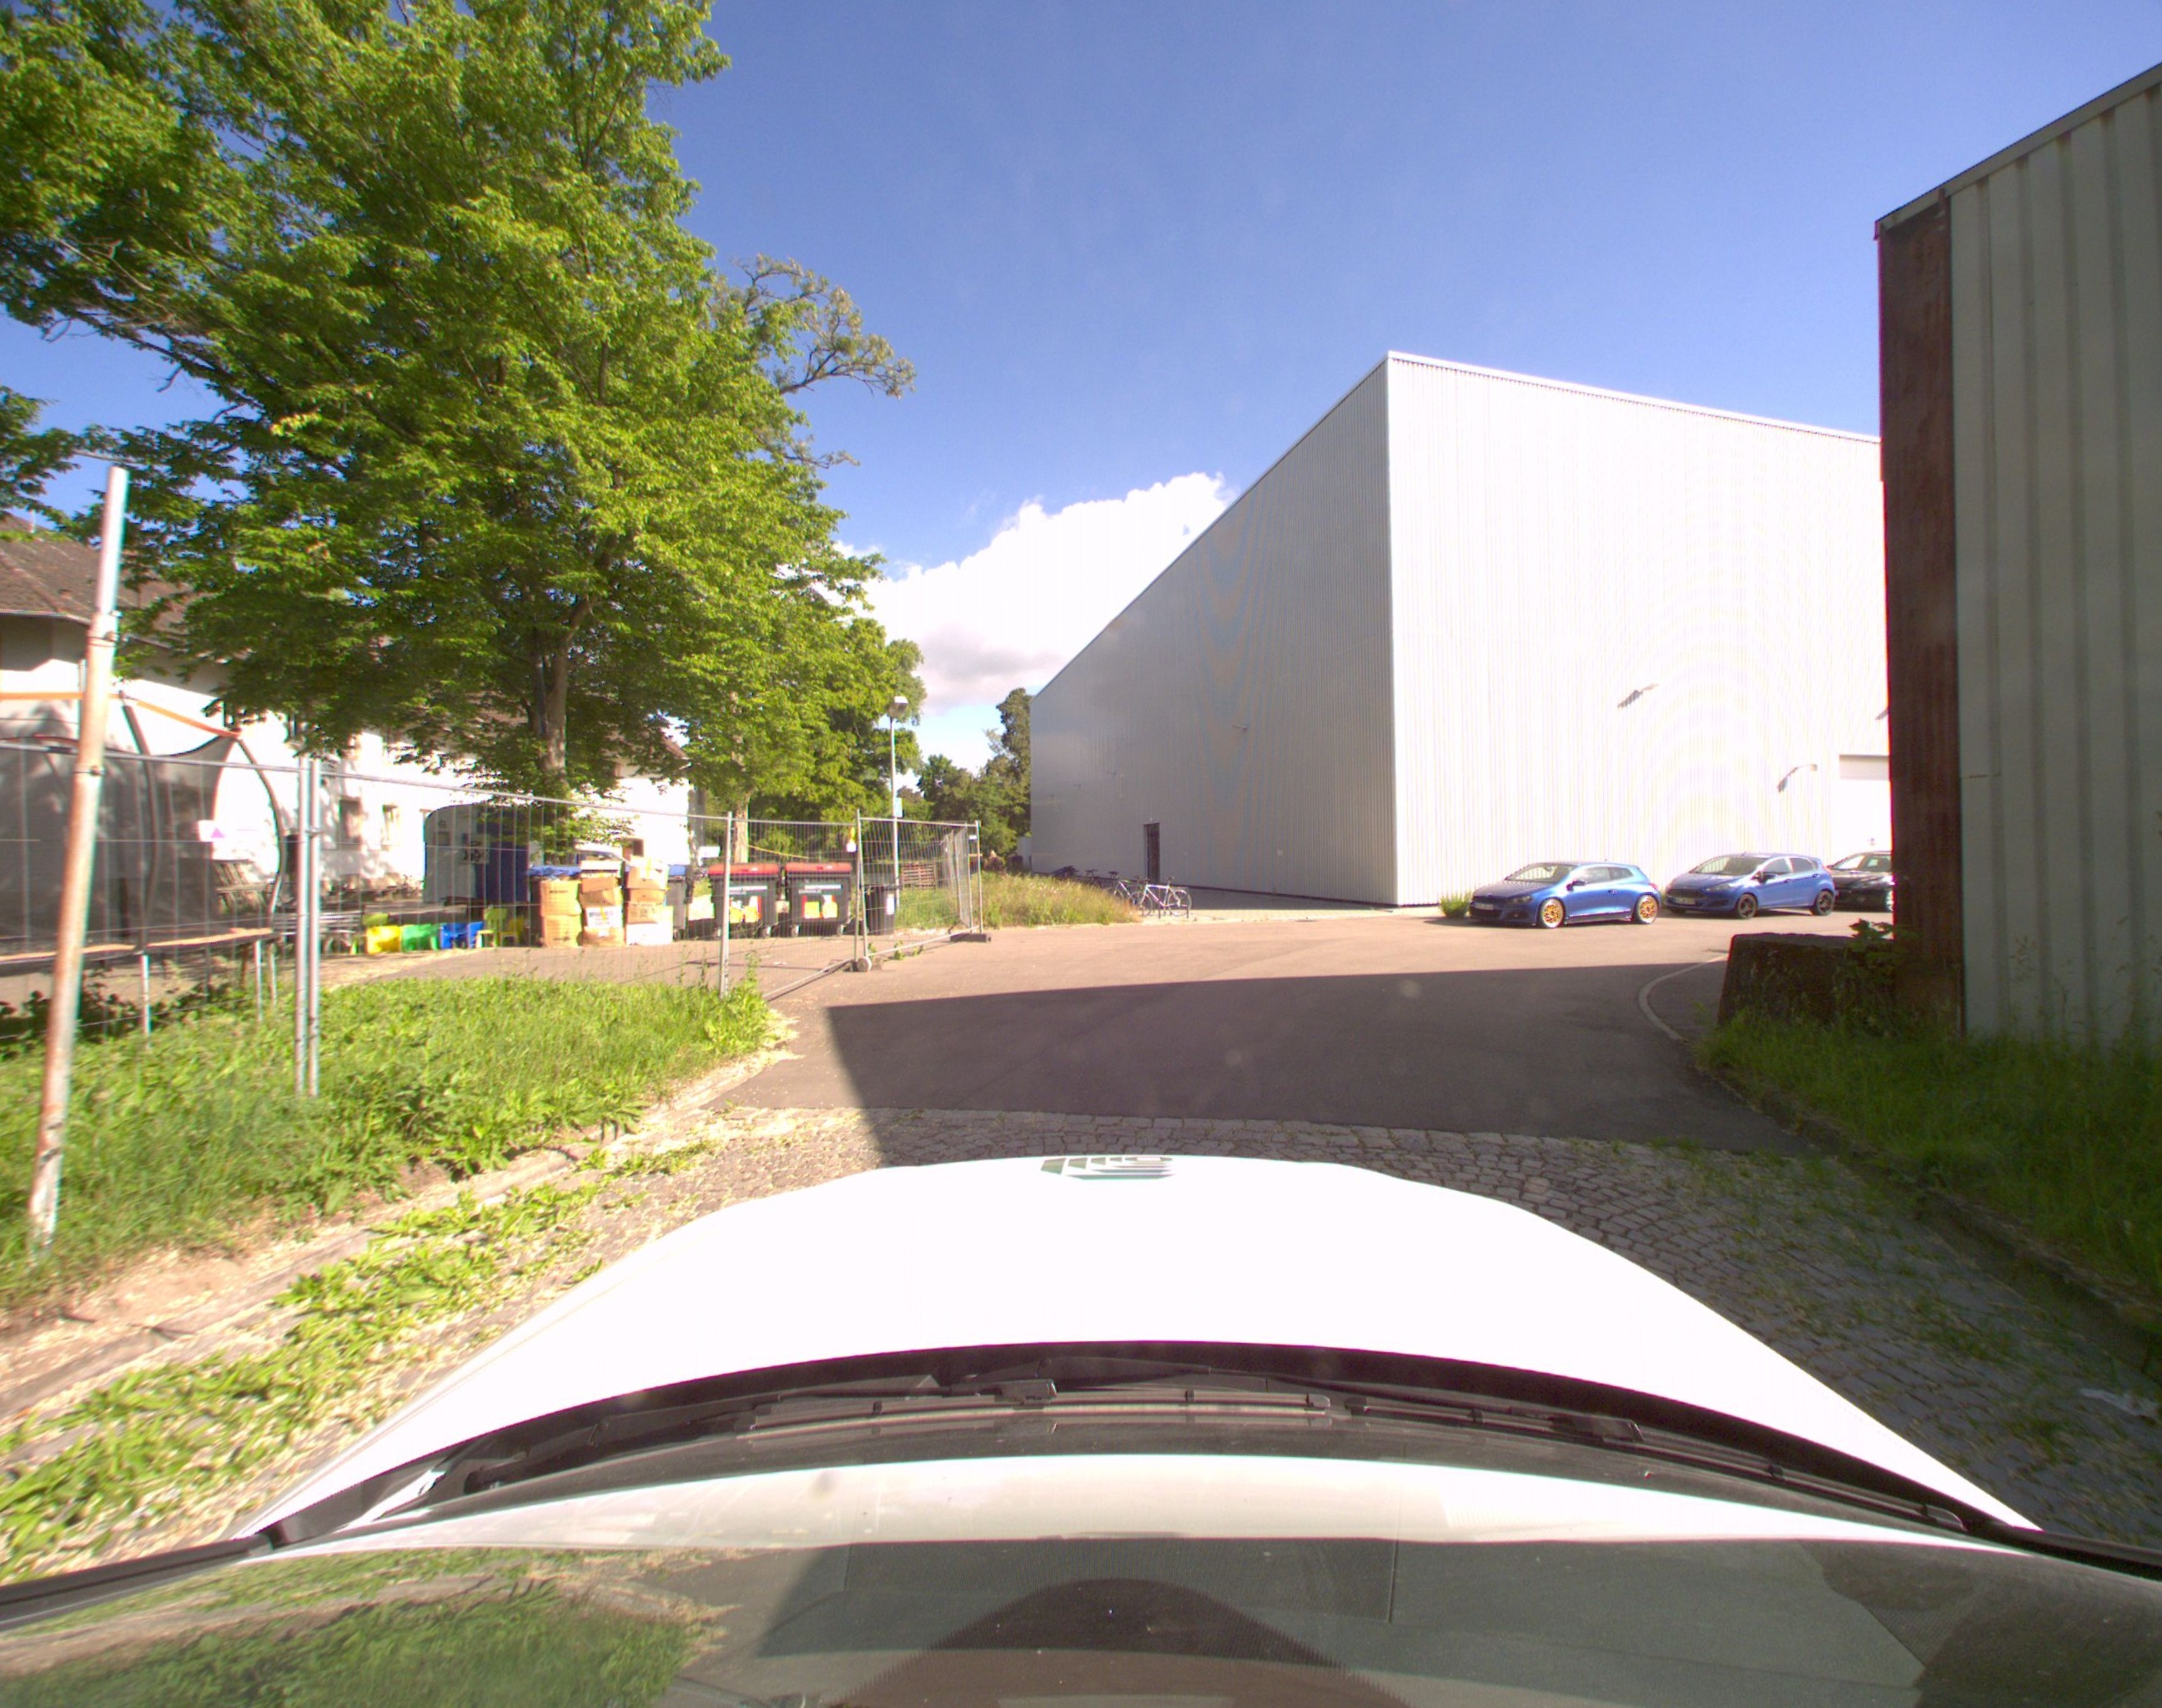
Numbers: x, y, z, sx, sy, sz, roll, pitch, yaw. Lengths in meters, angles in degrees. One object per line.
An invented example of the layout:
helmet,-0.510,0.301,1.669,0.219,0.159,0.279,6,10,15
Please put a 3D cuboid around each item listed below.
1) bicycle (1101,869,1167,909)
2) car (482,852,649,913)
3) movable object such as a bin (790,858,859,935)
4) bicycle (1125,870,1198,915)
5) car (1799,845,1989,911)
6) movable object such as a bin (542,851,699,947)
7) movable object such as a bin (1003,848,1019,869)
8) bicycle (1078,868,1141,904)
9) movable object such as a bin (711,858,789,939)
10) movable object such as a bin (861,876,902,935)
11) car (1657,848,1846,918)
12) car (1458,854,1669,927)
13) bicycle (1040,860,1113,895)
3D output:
bicycle,1.508,0.976,23.268,1.794,1.082,0.522,-1,0,-14
car,-18.565,0.994,29.629,4.725,1.902,1.987,-2,0,-20
movable object such as a bin,-5.024,0.802,15.960,1.249,1.444,0.698,-1,0,-21
bicycle,2.057,0.963,20.767,1.805,1.062,0.456,-1,0,-20
car,20.355,0.547,20.421,3.872,1.445,1.648,-1,3,-15
movable object such as a bin,-8.233,0.761,14.729,2.296,1.591,1.166,-1,0,-21
movable object such as a bin,-6.616,0.412,76.842,1.419,2.013,1.121,-1,0,-11
bicycle,0.894,0.997,25.733,1.892,1.095,0.523,-1,-1,-17
movable object such as a bin,-6.307,0.819,15.567,1.342,1.484,0.801,-1,0,-21
movable object such as a bin,-3.938,1.008,16.117,0.736,1.097,0.816,-1,0,-11
car,15.658,0.622,19.049,3.761,1.447,1.616,-1,1,-17
car,10.314,0.722,17.461,3.949,1.350,1.665,-1,1,-16
bicycle,-0.195,0.885,31.238,2.631,1.266,1.136,-1,0,-11
